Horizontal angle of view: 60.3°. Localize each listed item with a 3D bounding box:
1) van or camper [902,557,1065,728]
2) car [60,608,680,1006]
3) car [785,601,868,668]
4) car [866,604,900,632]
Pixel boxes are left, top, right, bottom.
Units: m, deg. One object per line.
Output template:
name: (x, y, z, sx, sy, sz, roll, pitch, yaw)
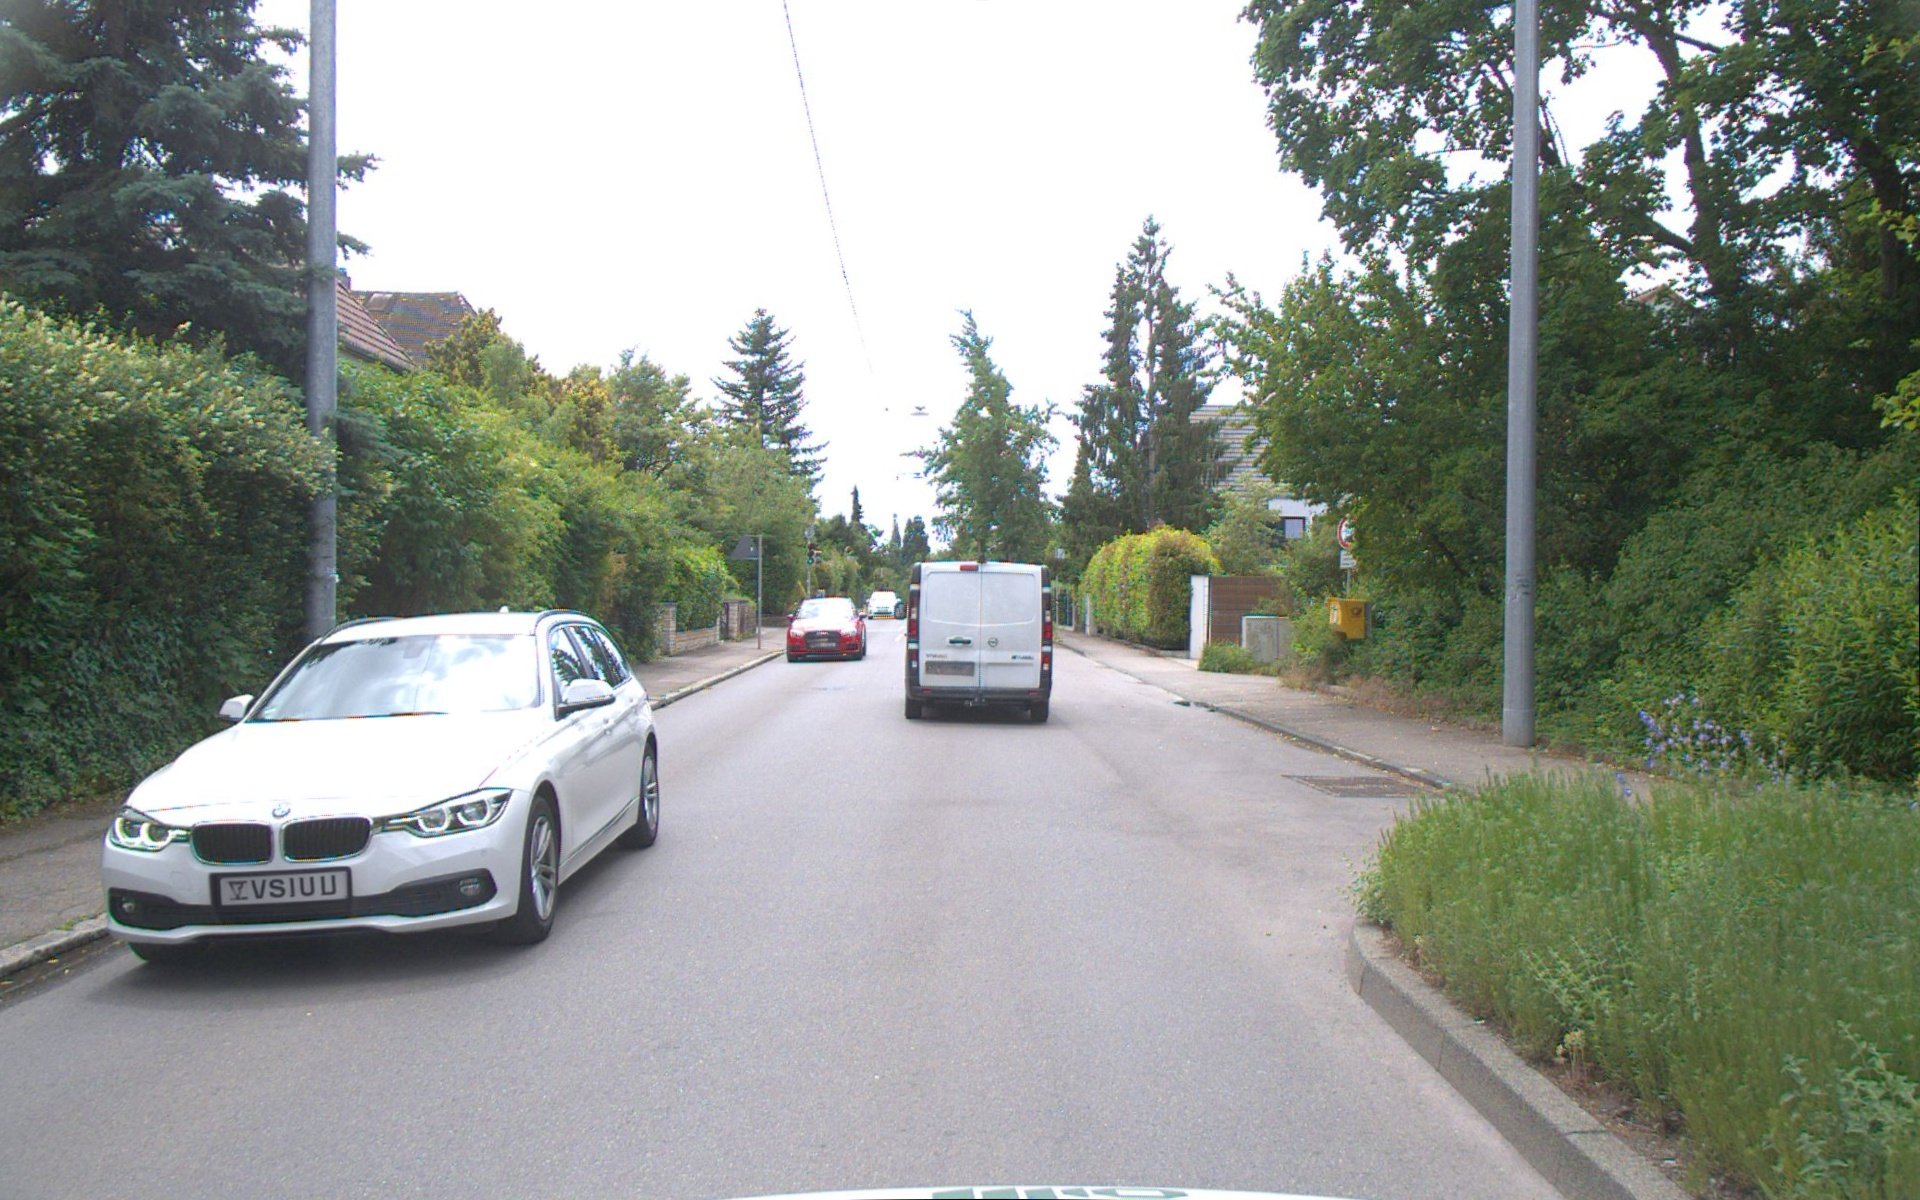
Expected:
van or camper: (0.213, 0.560, 22.128, 1.900, 1.988, 4.763, 1, -1, -2)
car: (-2.653, 0.811, 8.589, 1.769, 1.456, 4.299, -2, 0, -2)
car: (-3.156, 0.789, 39.709, 1.769, 1.456, 4.116, -2, 0, -2)
car: (-4.369, 0.985, 93.778, 1.817, 1.476, 4.279, -1, 0, -3)
